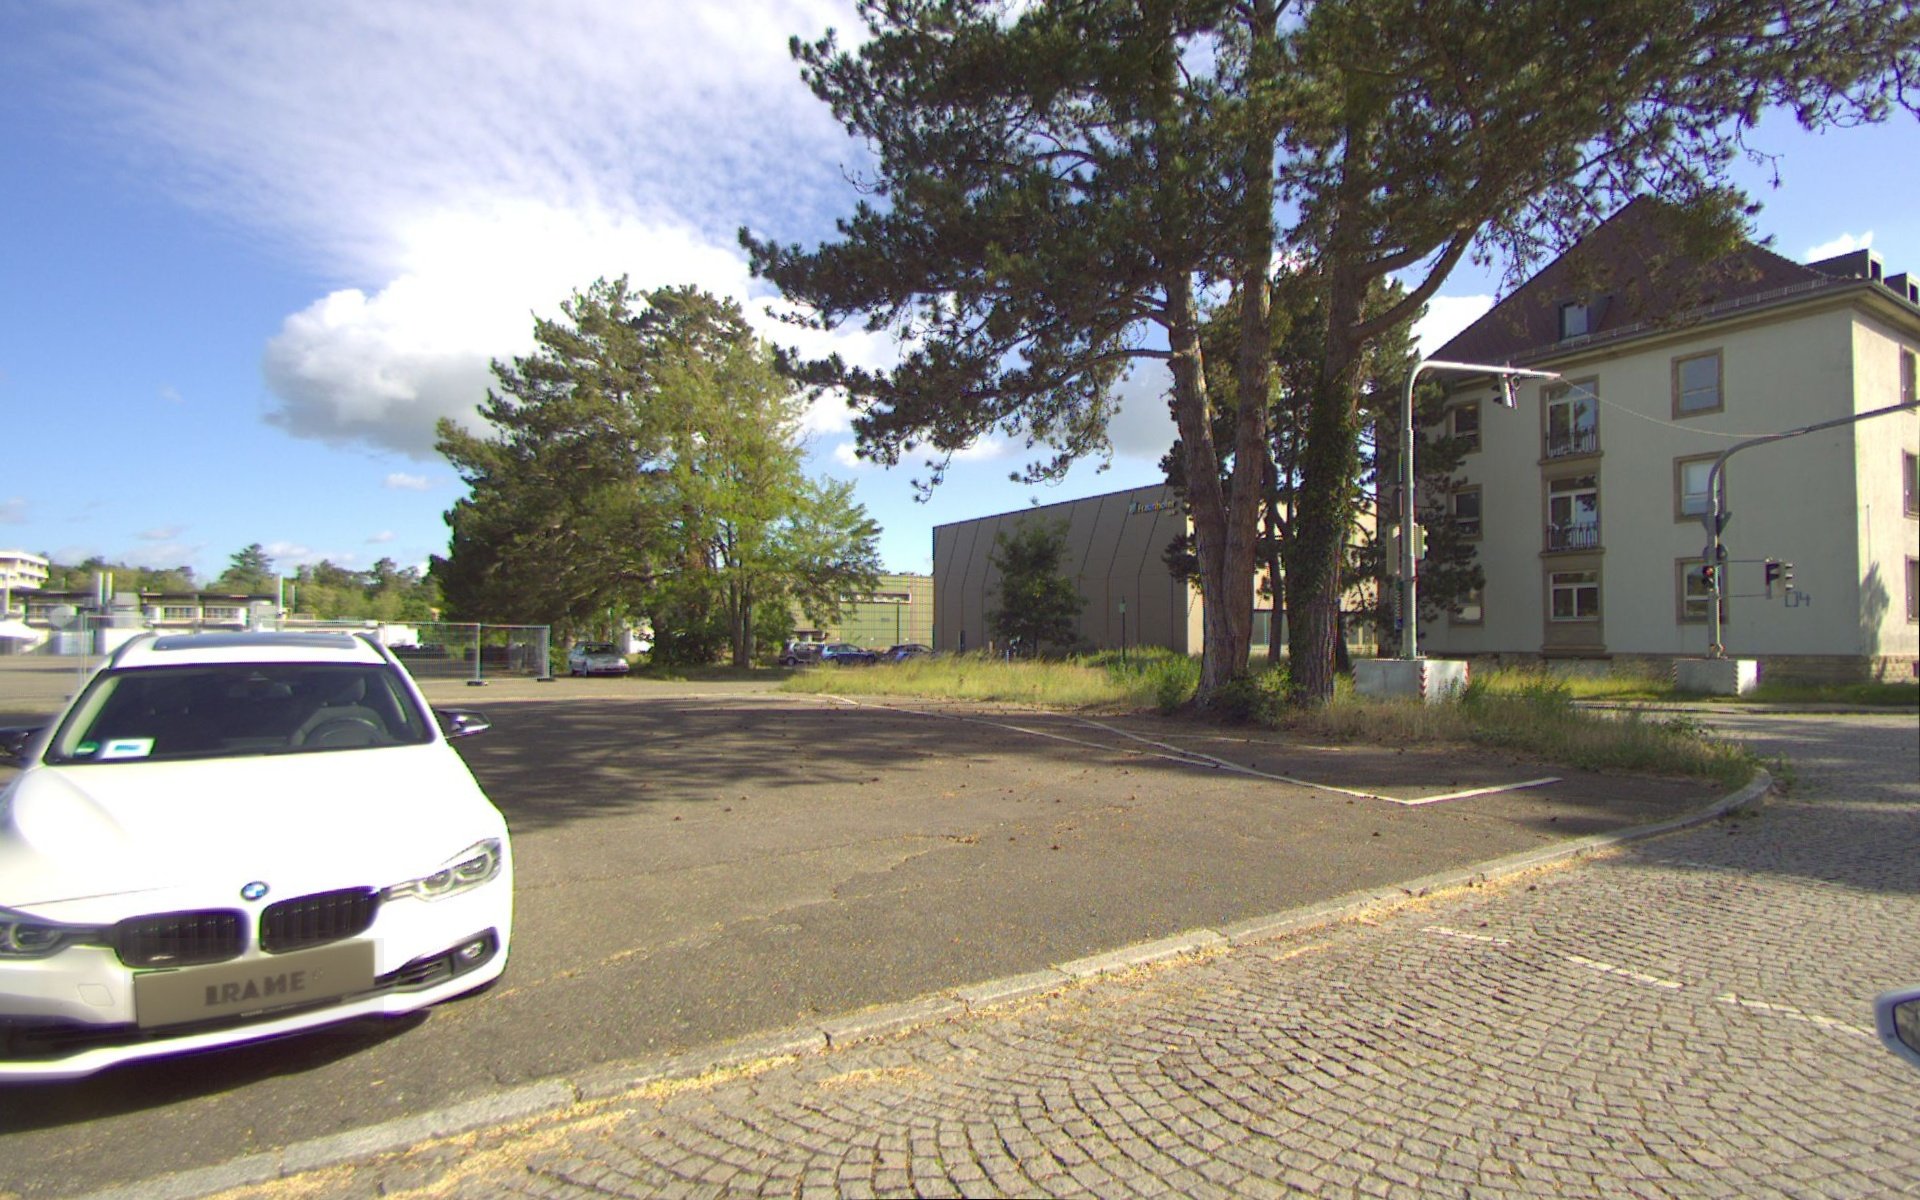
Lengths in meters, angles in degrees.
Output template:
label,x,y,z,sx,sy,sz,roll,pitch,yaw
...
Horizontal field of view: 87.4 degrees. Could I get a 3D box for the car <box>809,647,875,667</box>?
label,x,y,z,sx,sy,sz,roll,pitch,yaw
car,-7.476,3.612,63.907,3.952,1.221,1.480,1,-3,-30

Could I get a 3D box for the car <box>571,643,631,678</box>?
label,x,y,z,sx,sy,sz,roll,pitch,yaw
car,-14.905,2.460,41.653,1.727,1.388,3.594,1,-3,-30

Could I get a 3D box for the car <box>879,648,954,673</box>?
label,x,y,z,sx,sy,sz,roll,pitch,yaw
car,-2.411,3.374,56.104,4.004,1.311,1.480,1,-3,-31

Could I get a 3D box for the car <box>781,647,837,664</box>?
label,x,y,z,sx,sy,sz,roll,pitch,yaw
car,-10.580,3.874,70.376,3.635,1.090,1.399,1,-3,-30

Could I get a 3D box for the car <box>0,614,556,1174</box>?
label,x,y,z,sx,sy,sz,roll,pitch,yaw
car,-3.487,0.873,5.068,1.735,1.487,4.511,1,0,-35
